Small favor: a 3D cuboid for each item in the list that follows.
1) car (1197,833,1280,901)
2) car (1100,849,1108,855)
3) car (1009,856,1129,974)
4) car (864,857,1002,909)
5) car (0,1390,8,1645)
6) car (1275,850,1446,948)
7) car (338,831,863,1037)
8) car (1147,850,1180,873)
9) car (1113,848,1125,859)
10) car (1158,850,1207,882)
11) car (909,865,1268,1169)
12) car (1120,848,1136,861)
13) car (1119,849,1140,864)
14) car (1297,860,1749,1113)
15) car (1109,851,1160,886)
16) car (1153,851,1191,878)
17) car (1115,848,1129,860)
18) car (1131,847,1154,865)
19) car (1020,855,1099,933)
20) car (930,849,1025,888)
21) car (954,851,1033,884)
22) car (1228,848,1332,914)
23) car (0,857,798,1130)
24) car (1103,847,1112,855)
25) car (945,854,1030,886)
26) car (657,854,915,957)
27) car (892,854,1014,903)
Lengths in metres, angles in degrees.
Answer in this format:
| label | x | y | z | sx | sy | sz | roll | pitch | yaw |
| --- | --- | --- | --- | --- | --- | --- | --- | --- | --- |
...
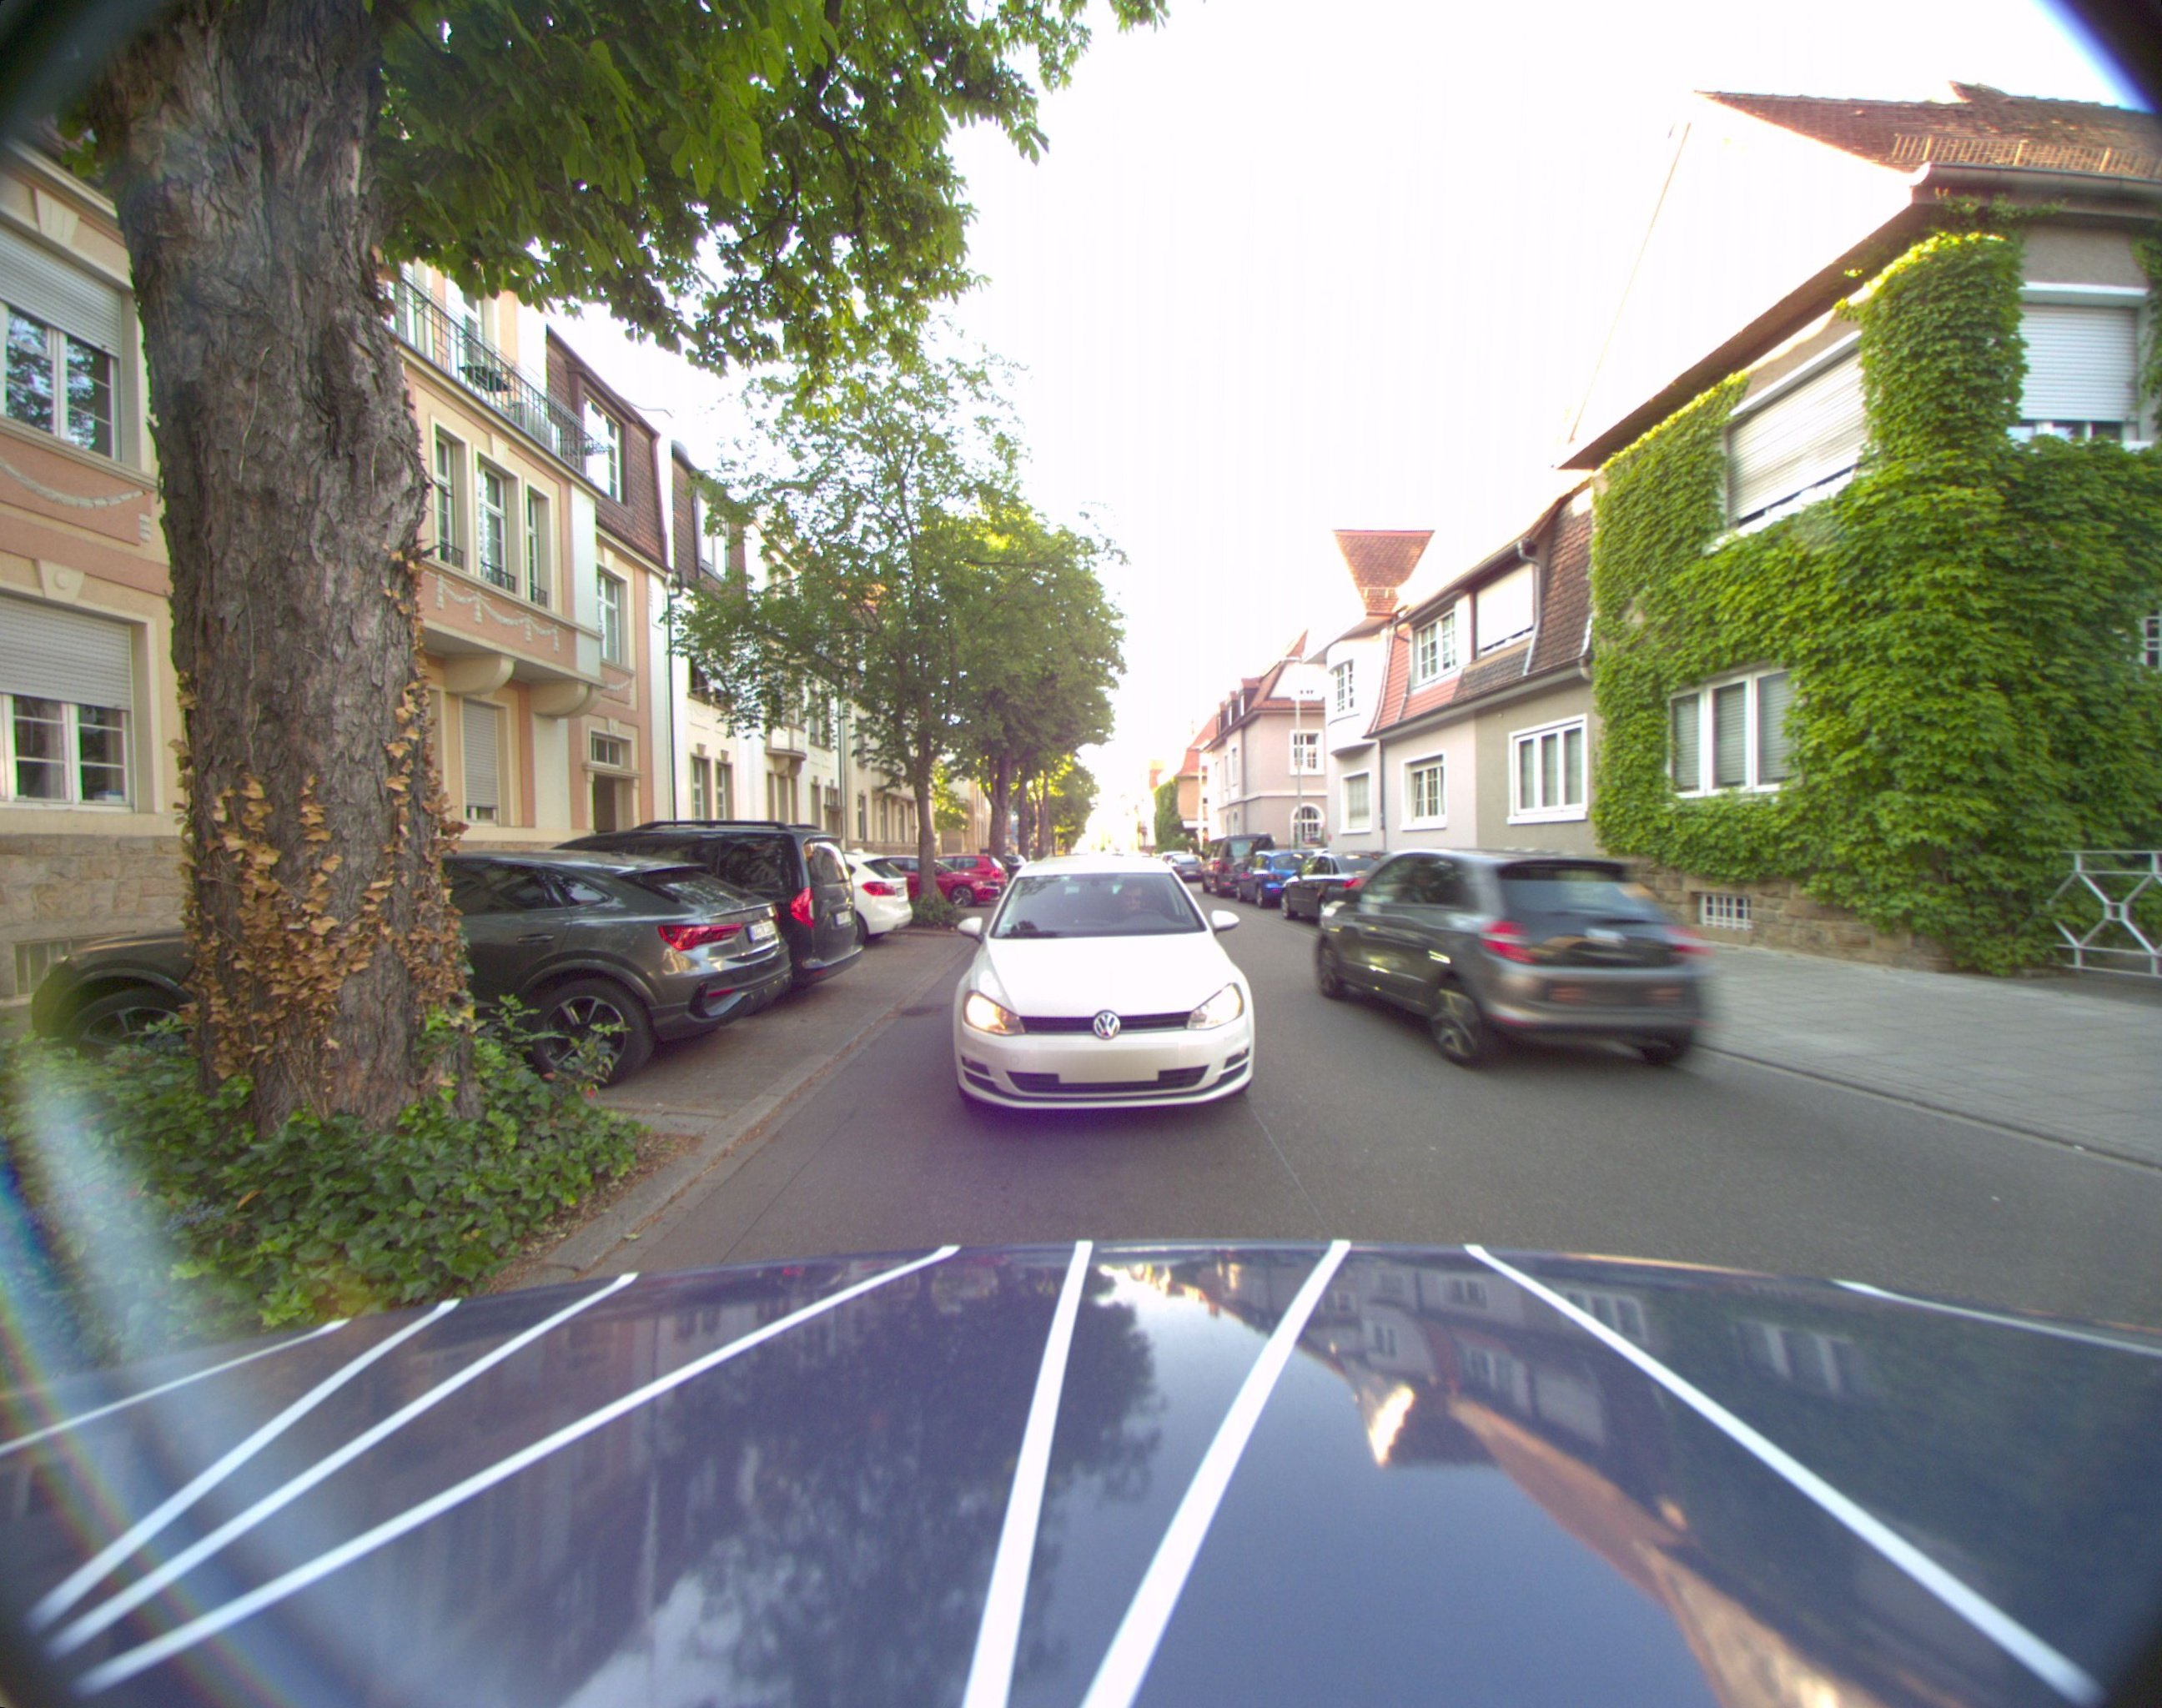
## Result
| label | x | y | z | sx | sy | sz | roll | pitch | yaw |
| --- | --- | --- | --- | --- | --- | --- | --- | --- | --- |
| car | 5.137 | 0.359 | 25.287 | 1.719 | 1.961 | 4.310 | -4 | 1 | 0 |
| car | 5.149 | -0.463 | 173.340 | 1.643 | 1.461 | 3.689 | -3 | 0 | 0 |
| car | -0.141 | 0.833 | 12.265 | 1.600 | 1.546 | 4.000 | 1 | 0 | 1 |
| car | -4.178 | 0.808 | 21.798 | 3.622 | 1.395 | 1.537 | 1 | 1 | 0 |
| car | -4.668 | 0.792 | 0.516 | 4.835 | 1.814 | 1.880 | 1 | 1 | -4 |
| car | 5.050 | 0.719 | 14.354 | 1.751 | 1.421 | 4.023 | -4 | 1 | 1 |
| car | -4.483 | 0.708 | 7.621 | 4.173 | 1.816 | 1.594 | 1 | 1 | -4 |
| car | 5.441 | 0.464 | 50.573 | 1.719 | 1.363 | 3.945 | -3 | 0 | 0 |
| car | 5.728 | -0.100 | 115.865 | 1.643 | 1.461 | 3.689 | -3 | 0 | 0 |
| car | 4.856 | 0.553 | 36.873 | 1.719 | 1.363 | 4.334 | -3 | 0 | 0 |
| car | 0.001 | 0.868 | 5.937 | 1.799 | 1.420 | 4.023 | -2 | 0 | -1 |
| car | 5.616 | 0.026 | 91.286 | 1.643 | 1.461 | 3.689 | -3 | 0 | -1 |
| car | 5.103 | 0.223 | 80.655 | 1.643 | 1.461 | 3.688 | -3 | 0 | -4 |
| car | 3.239 | 0.837 | 6.471 | 1.620 | 1.493 | 3.591 | 1 | 1 | -3 |
| car | 2.352 | 0.631 | 34.539 | 1.786 | 1.453 | 4.298 | 1 | 0 | -3 |
| car | 5.001 | 0.540 | 42.174 | 1.541 | 1.363 | 3.945 | -3 | 0 | 0 |
| car | 5.450 | -0.069 | 100.887 | 1.643 | 1.461 | 3.689 | -3 | 0 | 0 |
| car | 5.488 | 0.178 | 68.251 | 1.643 | 1.461 | 3.945 | -3 | 0 | 0 |
| car | -0.402 | 0.806 | 17.150 | 1.560 | 1.546 | 3.738 | 1 | 0 | 1 |
| car | -4.176 | 0.574 | 30.943 | 3.622 | 1.555 | 1.537 | 0 | 1 | 0 |
| car | -4.204 | 0.638 | 36.871 | 3.622 | 1.555 | 1.537 | 0 | 1 | 0 |
| car | 5.208 | 0.628 | 20.374 | 1.611 | 1.455 | 4.023 | -4 | 1 | 0 |
| car | -4.394 | 0.848 | 5.412 | 4.173 | 1.583 | 1.594 | 1 | 1 | -4 |
| car | 5.232 | -0.551 | 149.327 | 1.643 | 1.461 | 3.689 | -3 | 0 | 0 |
| car | -4.144 | 0.719 | 34.132 | 3.622 | 1.395 | 1.537 | 0 | 1 | 0 |
| car | -4.668 | 0.802 | 12.411 | 3.623 | 1.541 | 1.537 | 1 | 1 | -4 |
| car | -4.048 | 0.761 | 24.340 | 3.622 | 1.456 | 1.537 | 1 | 1 | 0 |
